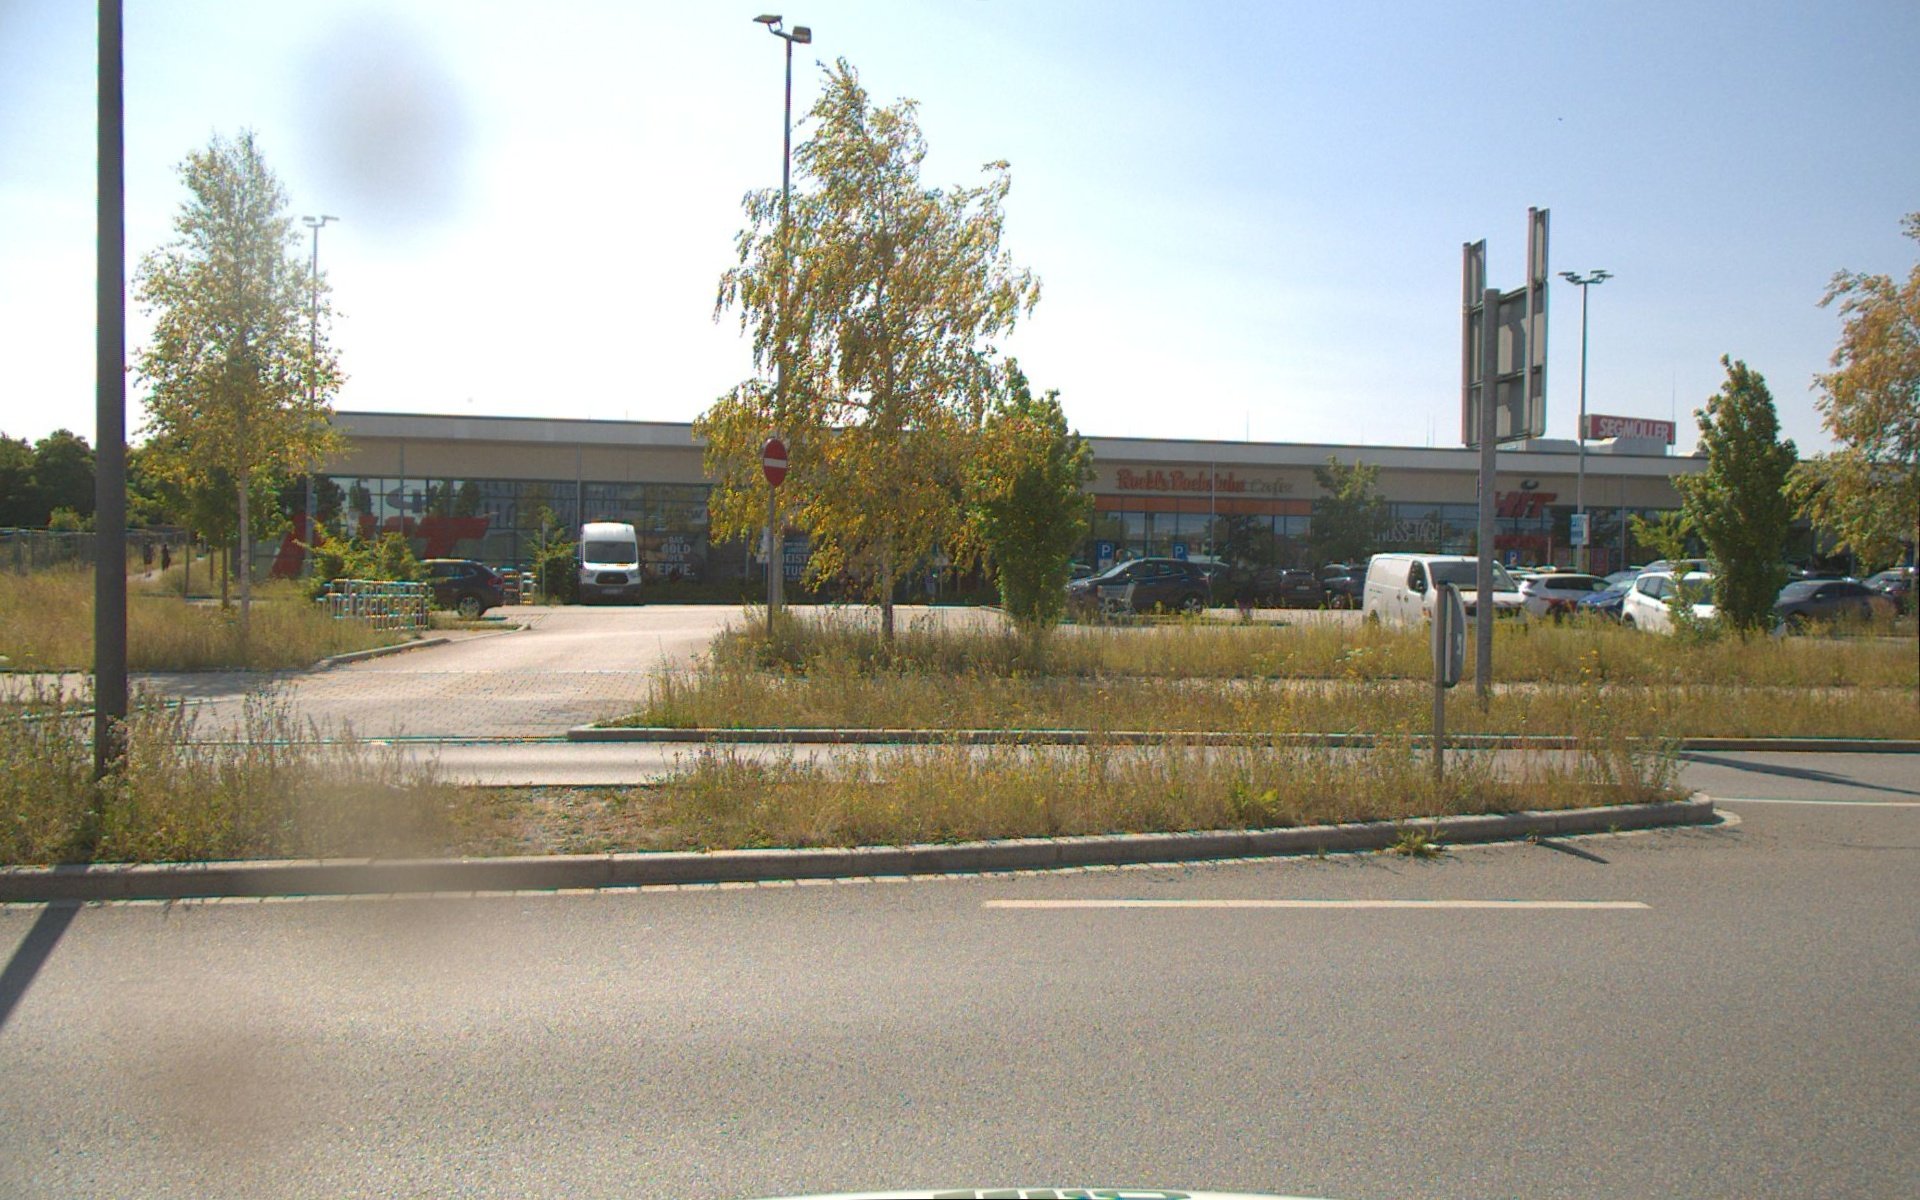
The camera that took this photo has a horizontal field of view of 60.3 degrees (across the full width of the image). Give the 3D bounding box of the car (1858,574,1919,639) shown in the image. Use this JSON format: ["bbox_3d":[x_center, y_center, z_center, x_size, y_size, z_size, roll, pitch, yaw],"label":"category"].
[{"bbox_3d":[33.067,0.244,55.920,4.385,2.139,1.997,1,1,-7],"label":"car"}]

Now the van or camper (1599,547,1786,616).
[{"bbox_3d":[22.360,-0.573,50.576,4.942,2.048,1.996,0,1,-9],"label":"van or camper"}]

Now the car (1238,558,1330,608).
[{"bbox_3d":[12.021,-0.656,61.548,1.958,1.737,3.989,0,2,-12],"label":"car"}]

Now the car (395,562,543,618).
[{"bbox_3d":[-13.300,-0.277,44.987,3.769,1.448,1.765,1,1,-15],"label":"car"}]

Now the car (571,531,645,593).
[{"bbox_3d":[-12.173,-1.318,56.948,2.185,2.011,6.671,0,2,-15],"label":"car"}]

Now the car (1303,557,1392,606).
[{"bbox_3d":[14.560,-0.725,62.322,1.956,1.737,3.994,1,2,-8],"label":"car"}]

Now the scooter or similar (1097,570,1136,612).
[{"bbox_3d":[4.217,-0.240,44.594,0.925,1.098,0.651,1,1,-7],"label":"scooter or similar"}]

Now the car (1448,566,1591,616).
[{"bbox_3d":[16.542,-0.264,48.960,3.657,1.415,1.725,0,1,-15],"label":"car"}]

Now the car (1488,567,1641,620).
[{"bbox_3d":[16.760,-0.195,45.924,3.657,1.415,1.725,0,1,-15],"label":"car"}]

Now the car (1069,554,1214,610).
[{"bbox_3d":[5.077,-0.511,46.454,3.726,1.535,1.727,0,1,-11],"label":"car"}]

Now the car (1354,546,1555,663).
[{"bbox_3d":[9.418,0.011,32.029,2.039,2.048,5.226,1,1,-3],"label":"car"}]

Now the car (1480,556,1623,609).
[{"bbox_3d":[20.753,-0.629,58.103,4.387,1.735,1.871,1,1,-8],"label":"car"}]

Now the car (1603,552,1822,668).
[{"bbox_3d":[14.527,0.120,32.310,2.112,2.048,5.118,1,1,3],"label":"car"}]

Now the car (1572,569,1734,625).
[{"bbox_3d":[18.219,-0.089,43.537,3.657,1.415,1.725,0,1,-15],"label":"car"}]

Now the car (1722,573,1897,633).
[{"bbox_3d":[23.199,0.071,45.236,3.914,1.534,1.870,1,1,-10],"label":"car"}]
